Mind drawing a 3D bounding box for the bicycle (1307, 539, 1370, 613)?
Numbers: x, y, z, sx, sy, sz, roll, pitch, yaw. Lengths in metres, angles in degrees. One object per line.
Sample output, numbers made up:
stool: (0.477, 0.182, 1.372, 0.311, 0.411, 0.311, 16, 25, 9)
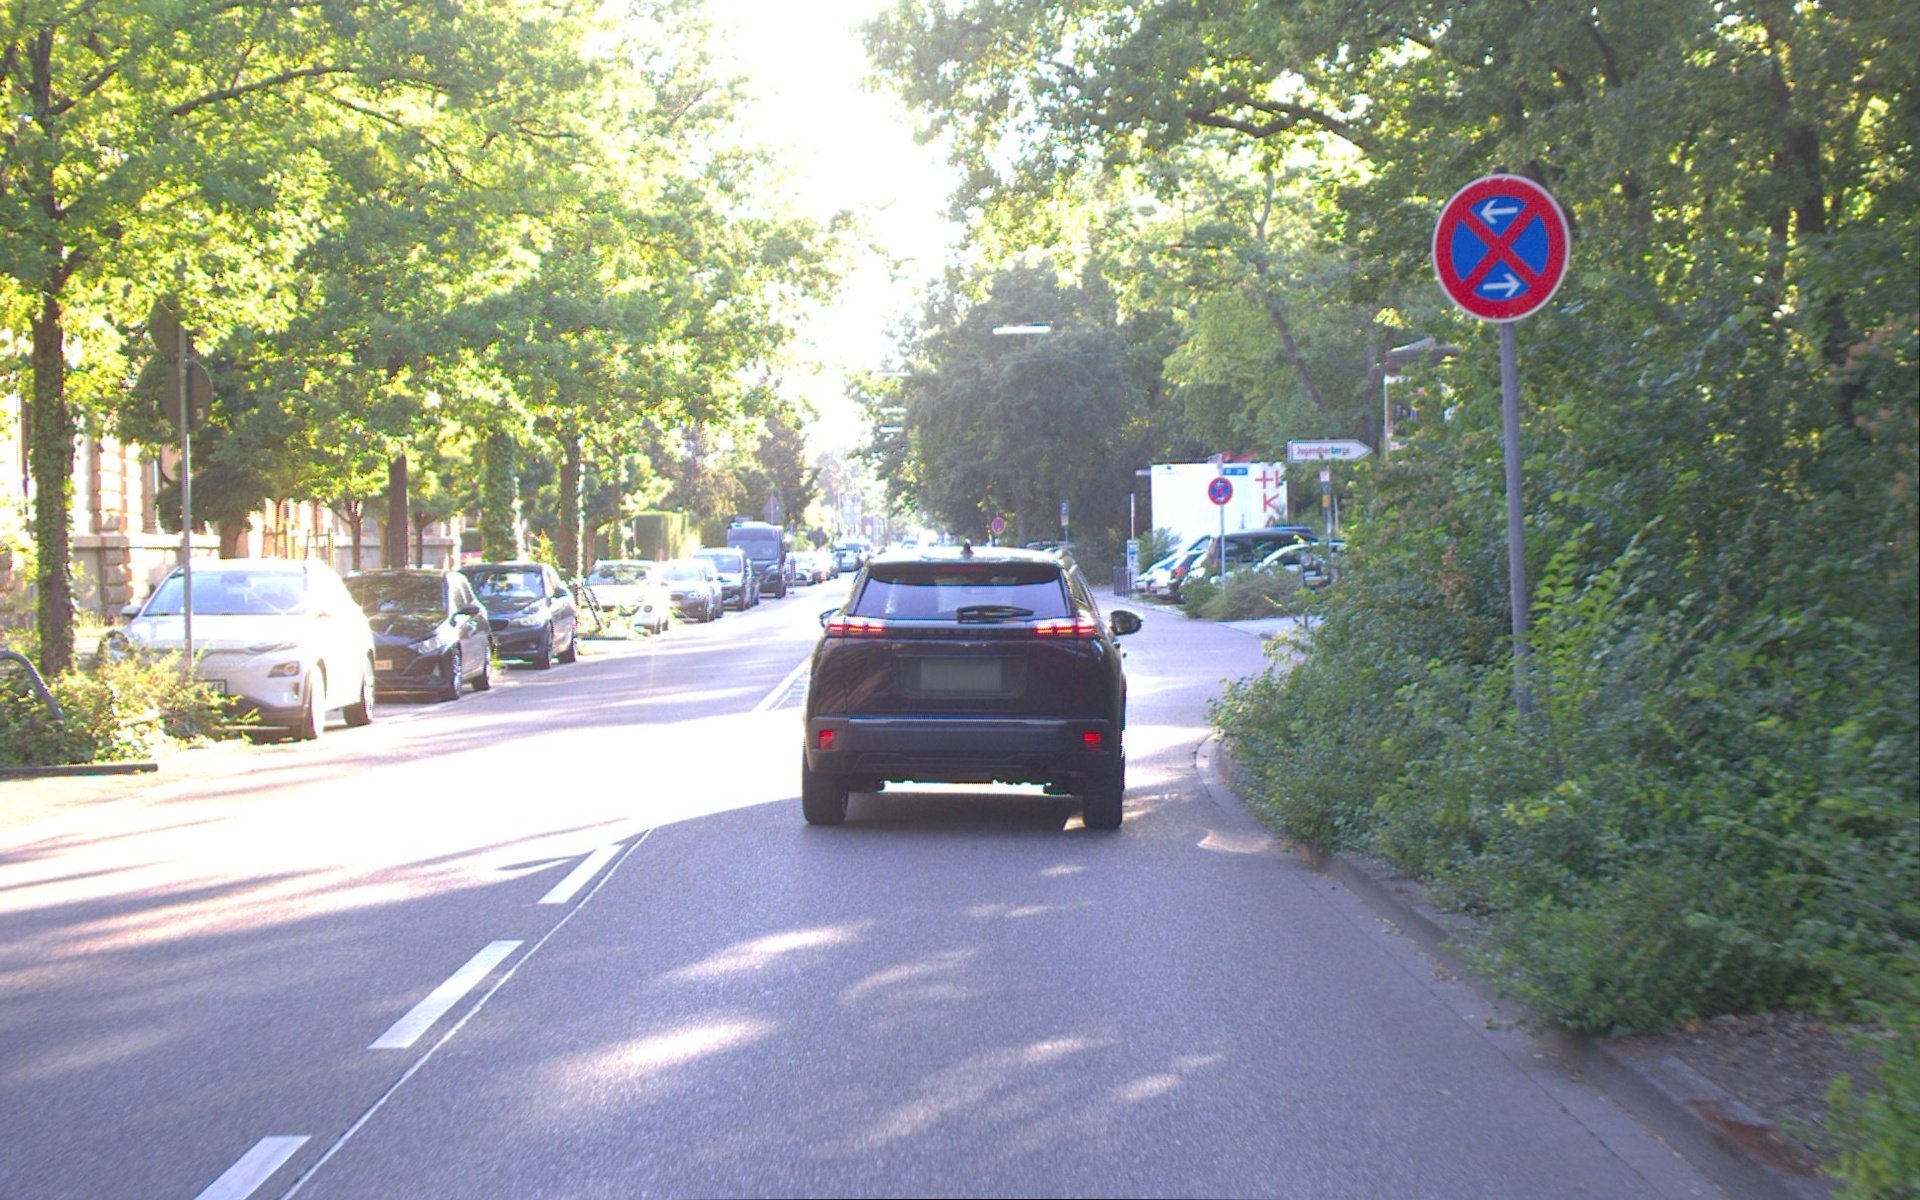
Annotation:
bicycle: (6.438, -0.418, 58.380, 0.493, 1.144, 2.283, -4, 1, 19)

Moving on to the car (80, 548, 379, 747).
car: (-6.391, 0.365, 30.521, 1.803, 1.610, 4.147, -1, 1, -1)

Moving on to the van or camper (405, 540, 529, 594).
van or camper: (-20.394, -1.362, 142.369, 4.768, 1.979, 2.001, -1, 5, 2)

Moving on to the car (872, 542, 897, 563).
car: (-5.455, -3.408, 247.200, 1.741, 1.453, 4.624, -2, 1, -1)

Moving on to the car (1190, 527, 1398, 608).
car: (7.430, -0.734, 76.733, 4.362, 1.548, 1.727, -3, 1, -1)

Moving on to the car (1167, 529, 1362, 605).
car: (7.217, -0.787, 81.795, 4.362, 1.548, 1.876, -3, 1, -1)

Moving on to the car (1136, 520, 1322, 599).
car: (7.368, -1.111, 94.608, 4.852, 1.909, 1.916, -3, 1, -1)

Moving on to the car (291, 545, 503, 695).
car: (-6.322, 0.189, 38.988, 1.780, 1.610, 4.147, 0, 1, -1)

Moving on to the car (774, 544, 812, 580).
car: (-7.552, -1.714, 155.586, 1.613, 1.510, 3.712, -3, 1, -2)

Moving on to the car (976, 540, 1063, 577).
car: (2.769, -1.929, 161.007, 3.987, 1.549, 1.725, -3, 1, -1)

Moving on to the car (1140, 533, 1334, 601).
car: (7.411, -0.896, 92.292, 4.926, 1.548, 1.916, -3, 1, -1)

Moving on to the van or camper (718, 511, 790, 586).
van or camper: (-7.184, -1.782, 120.408, 2.229, 2.536, 7.080, 1, 1, -1)

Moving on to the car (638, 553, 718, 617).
car: (-6.792, -0.389, 83.079, 1.617, 1.491, 4.377, 0, 1, -1)

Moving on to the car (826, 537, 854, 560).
car: (-8.481, -3.633, 243.339, 1.899, 1.568, 4.000, -1, 1, -1)

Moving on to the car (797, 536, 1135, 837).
car: (0.010, 0.416, 20.118, 1.771, 1.563, 4.109, 0, 1, -1)

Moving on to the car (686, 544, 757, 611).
car: (-6.960, -0.690, 100.777, 1.777, 1.859, 4.332, 1, 1, 0)

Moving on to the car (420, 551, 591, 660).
car: (-6.523, 0.047, 49.807, 1.802, 1.505, 4.862, 0, 1, 0)

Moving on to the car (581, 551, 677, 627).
car: (-6.738, -0.238, 70.255, 1.617, 1.491, 3.925, 0, 1, -1)
